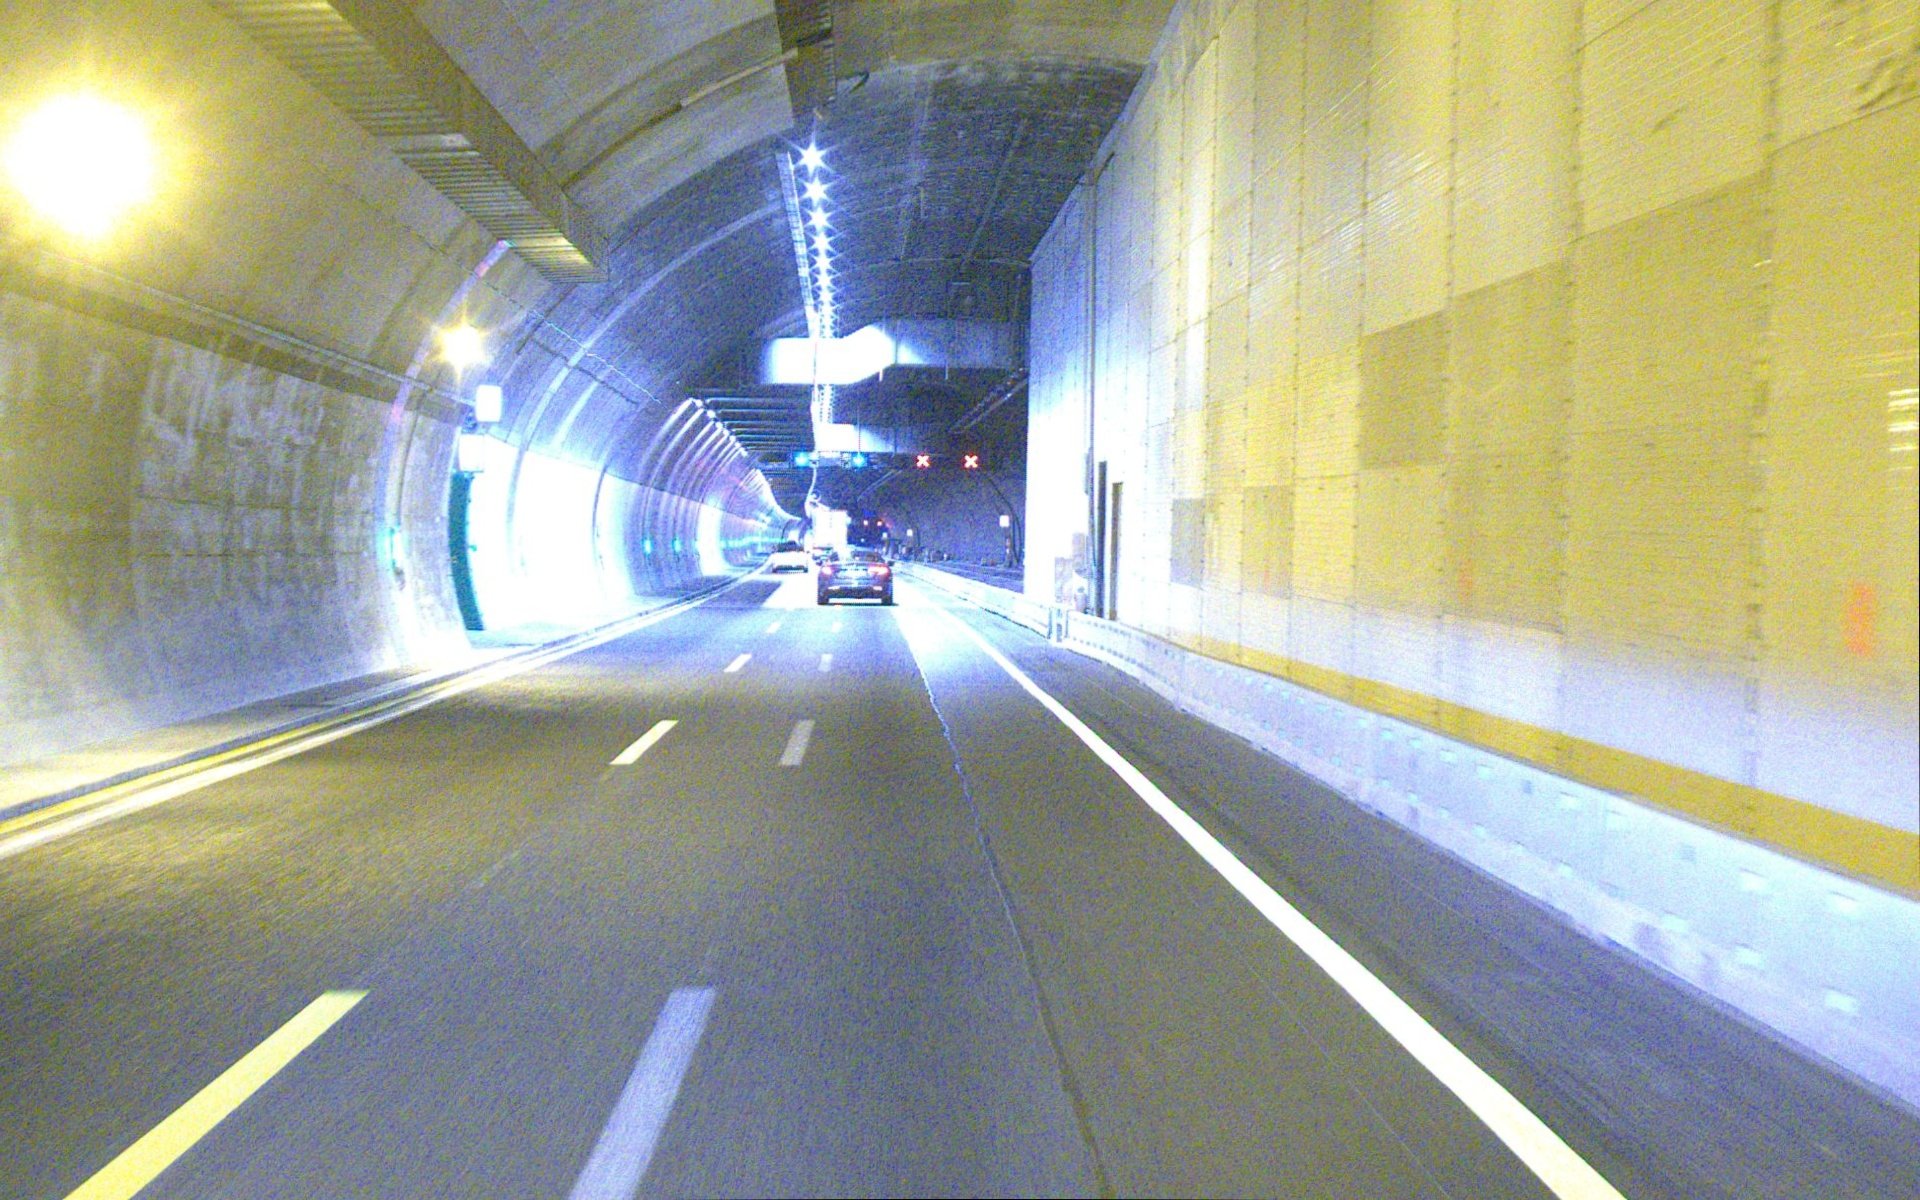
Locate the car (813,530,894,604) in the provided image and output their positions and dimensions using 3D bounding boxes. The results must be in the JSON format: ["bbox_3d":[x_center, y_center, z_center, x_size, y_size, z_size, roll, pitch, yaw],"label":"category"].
[{"bbox_3d":[-2.649,-0.842,85.779,1.946,1.788,4.000,0,1,-2],"label":"car"}]

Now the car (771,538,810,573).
[{"bbox_3d":[-8.514,-2.242,172.674,1.930,1.681,4.001,0,1,-3],"label":"car"}]

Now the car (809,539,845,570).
[{"bbox_3d":[-7.312,-2.513,189.568,1.930,1.681,4.001,0,1,-2],"label":"car"}]
